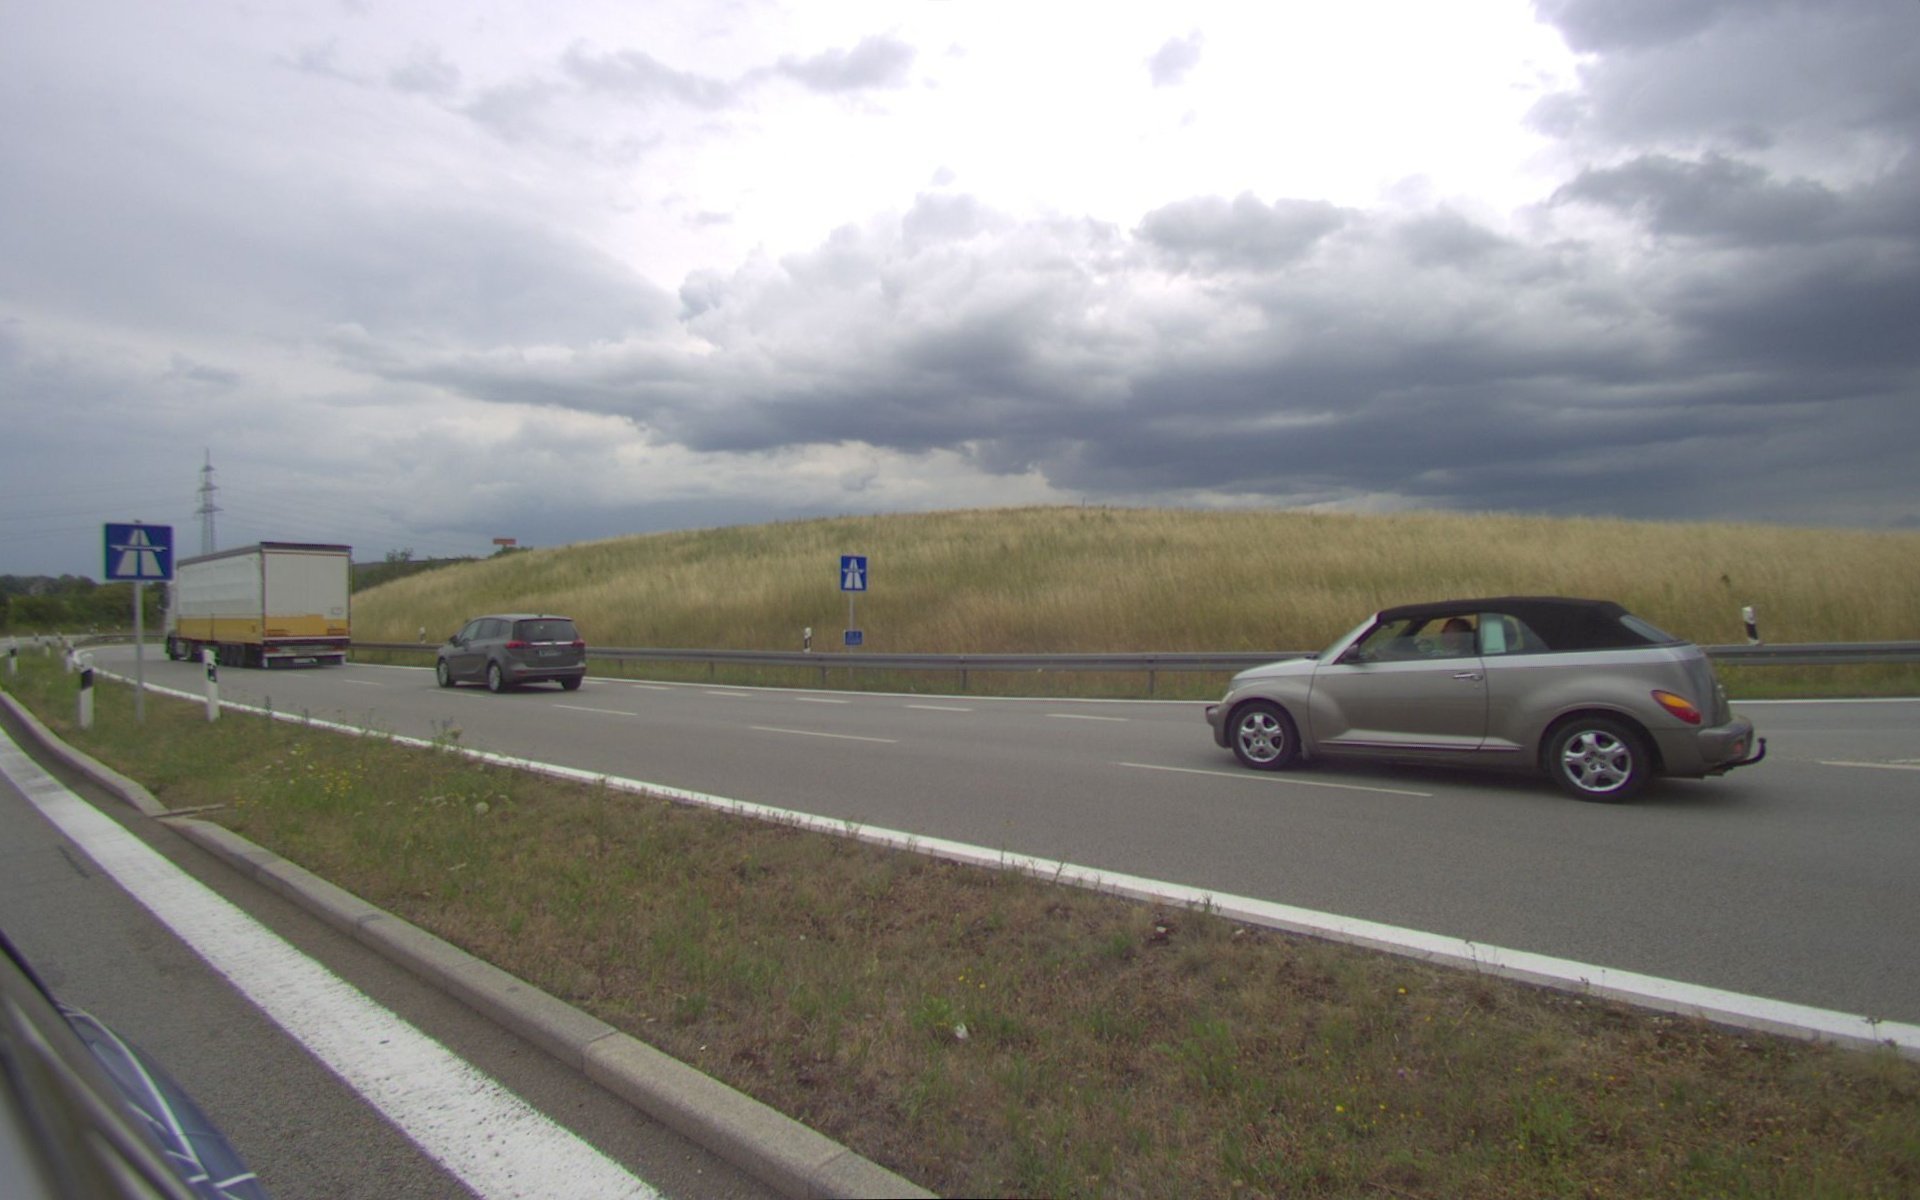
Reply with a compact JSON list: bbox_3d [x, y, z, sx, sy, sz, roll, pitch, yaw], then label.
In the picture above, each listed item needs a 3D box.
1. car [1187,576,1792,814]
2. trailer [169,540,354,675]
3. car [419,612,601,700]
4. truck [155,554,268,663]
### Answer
[{"bbox_3d":[4.294,0.668,8.624,4.240,1.532,1.791,-3,-1,41],"label":"car"},{"bbox_3d":[-26.139,0.272,37.374,13.840,4.242,2.663,-1,0,43],"label":"trailer"},{"bbox_3d":[-9.950,1.143,22.233,4.453,1.707,1.973,-1,0,41],"label":"car"},{"bbox_3d":[-31.113,0.344,41.980,6.403,4.172,2.621,-1,0,43],"label":"truck"}]
